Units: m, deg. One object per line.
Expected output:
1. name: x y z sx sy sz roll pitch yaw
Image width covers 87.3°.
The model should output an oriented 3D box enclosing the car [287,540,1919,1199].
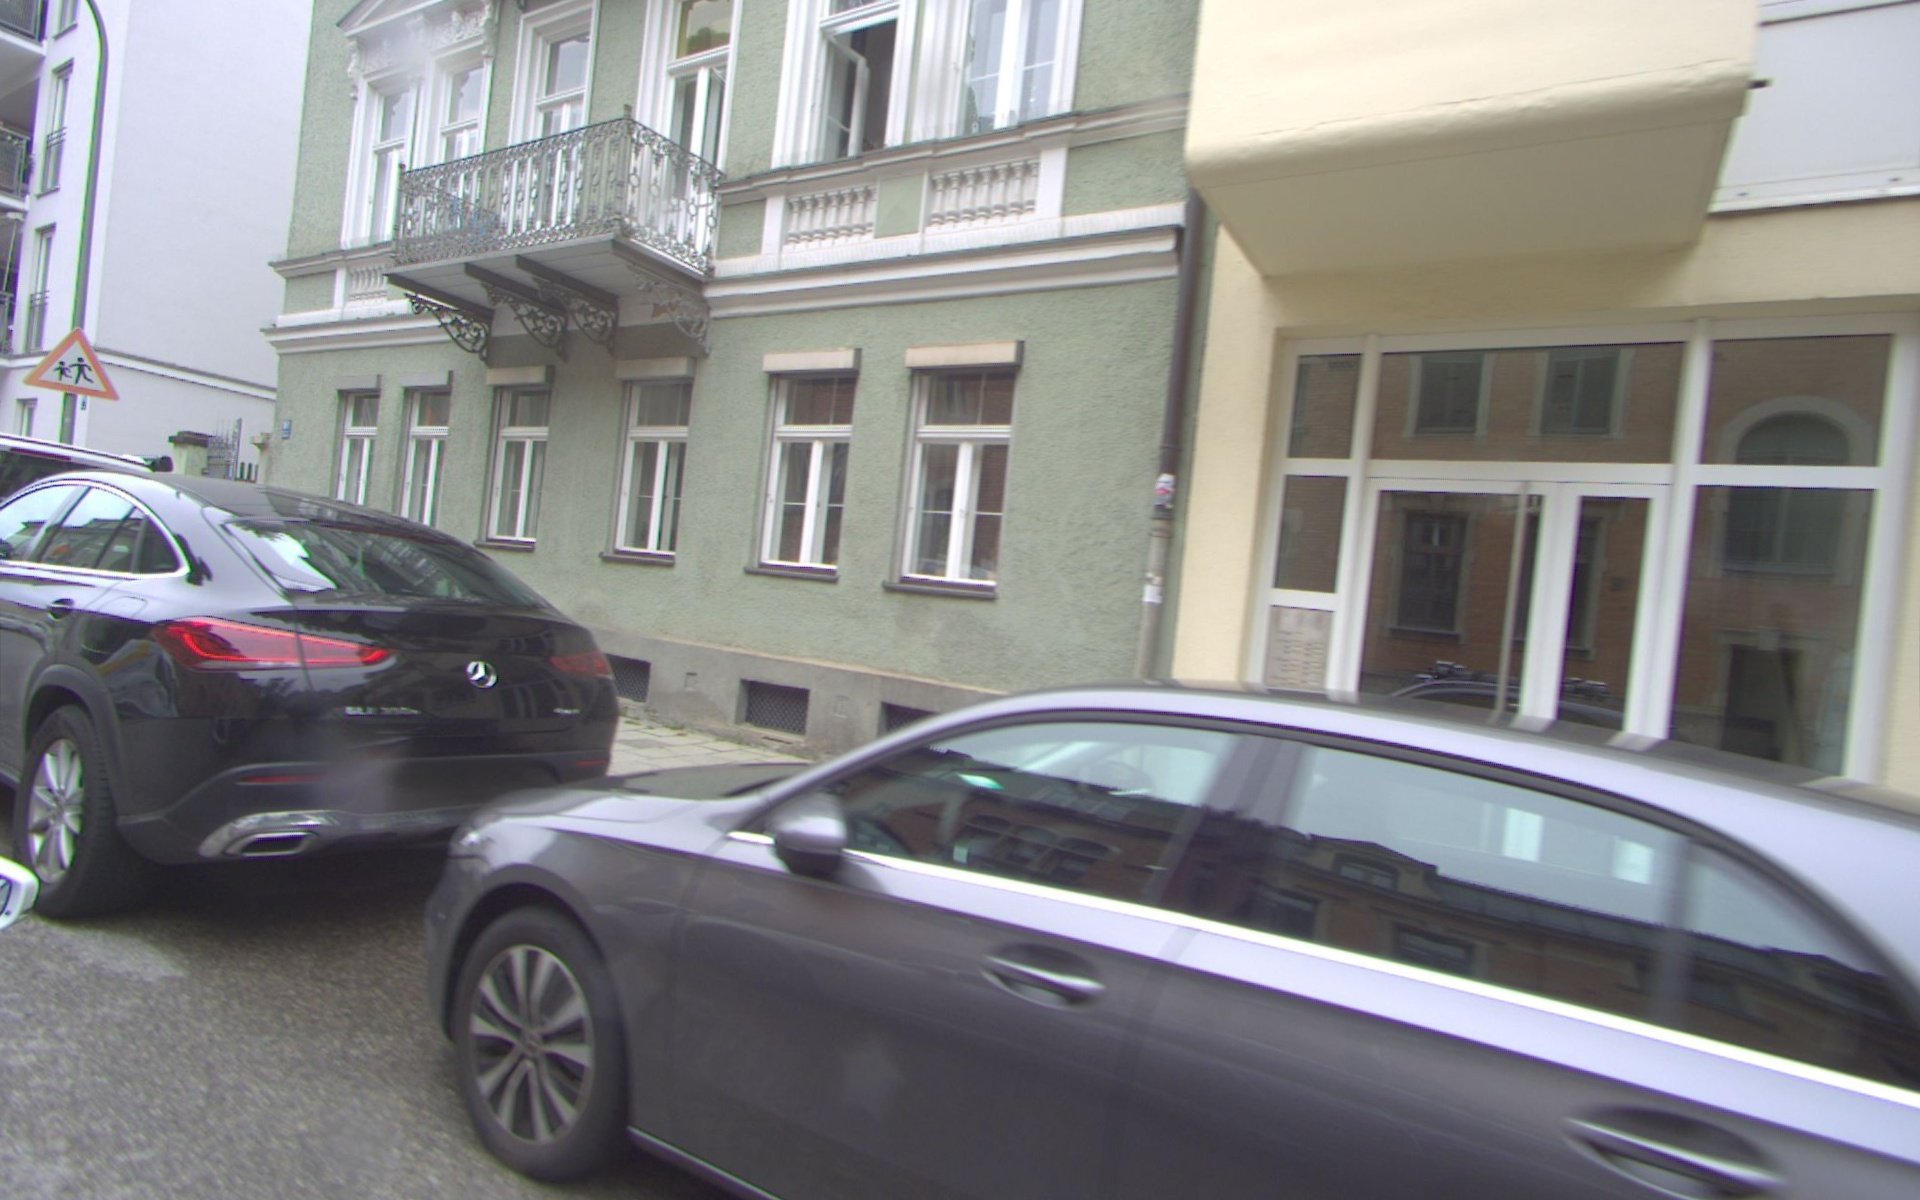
1. car: 0.393 0.831 2.547 4.343 1.476 1.730 6 -2 32

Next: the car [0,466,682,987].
1. car: -3.822 0.262 5.094 4.674 1.571 1.861 6 0 31

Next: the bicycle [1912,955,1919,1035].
1. bicycle: 4.864 1.409 3.749 1.732 1.067 0.580 6 1 27

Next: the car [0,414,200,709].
1. car: -8.436 -0.446 8.183 4.737 1.992 1.871 6 0 31
